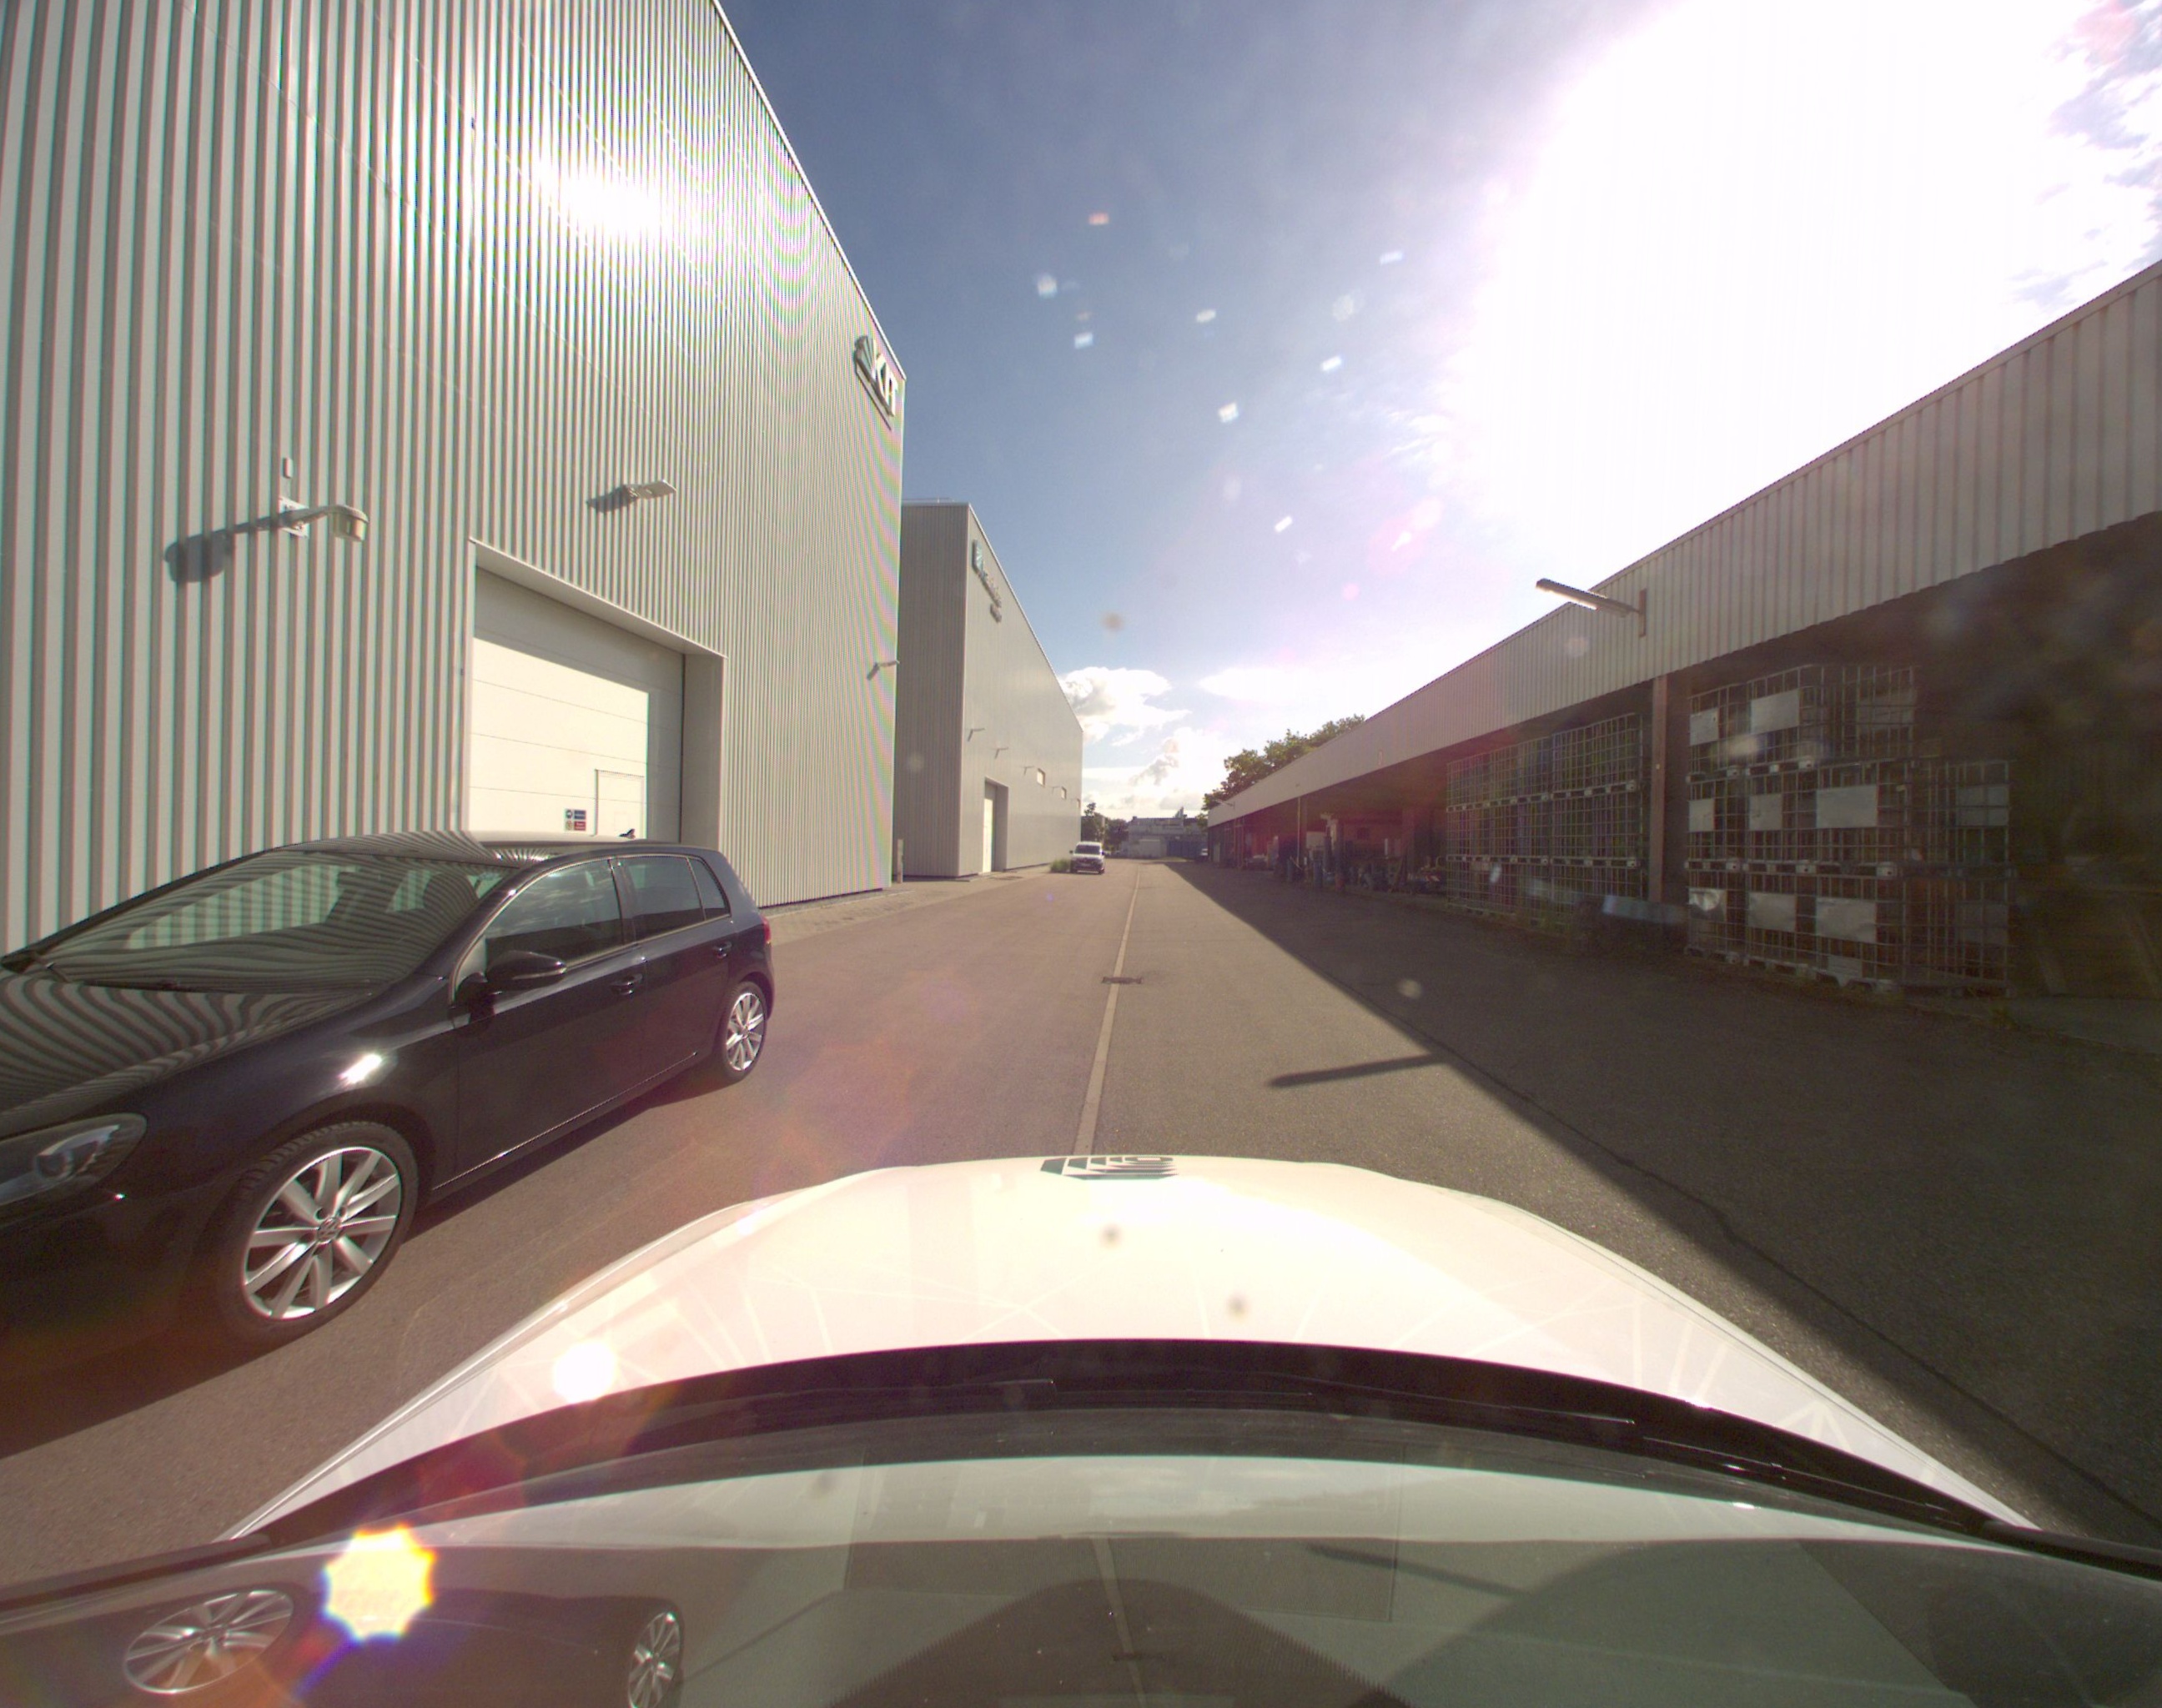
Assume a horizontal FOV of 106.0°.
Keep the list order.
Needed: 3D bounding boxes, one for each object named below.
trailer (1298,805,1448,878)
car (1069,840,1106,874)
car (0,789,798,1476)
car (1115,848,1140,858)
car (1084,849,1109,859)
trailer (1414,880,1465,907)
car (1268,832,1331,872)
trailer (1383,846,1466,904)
[{"bbox_3d":[14.107,-0.609,39.748,6.362,3.370,2.827,1,0,3],"label":"trailer"},{"bbox_3d":[0.431,0.161,46.289,1.900,1.794,4.003,2,0,2],"label":"car"},{"bbox_3d":[-2.942,0.553,3.634,1.643,1.446,3.883,4,0,4],"label":"car"},{"bbox_3d":[7.266,-0.106,127.274,3.865,1.461,1.626,2,0,6],"label":"car"},{"bbox_3d":[2.506,-0.024,128.353,3.868,1.461,1.624,2,0,3],"label":"car"},{"bbox_3d":[9.166,1.008,20.838,0.967,0.567,0.733,3,2,-1],"label":"trailer"},{"bbox_3d":[13.645,-0.126,50.950,3.489,2.441,2.003,1,0,4],"label":"car"},{"bbox_3d":[10.089,0.582,24.016,1.540,1.518,1.913,3,2,0],"label":"trailer"}]
